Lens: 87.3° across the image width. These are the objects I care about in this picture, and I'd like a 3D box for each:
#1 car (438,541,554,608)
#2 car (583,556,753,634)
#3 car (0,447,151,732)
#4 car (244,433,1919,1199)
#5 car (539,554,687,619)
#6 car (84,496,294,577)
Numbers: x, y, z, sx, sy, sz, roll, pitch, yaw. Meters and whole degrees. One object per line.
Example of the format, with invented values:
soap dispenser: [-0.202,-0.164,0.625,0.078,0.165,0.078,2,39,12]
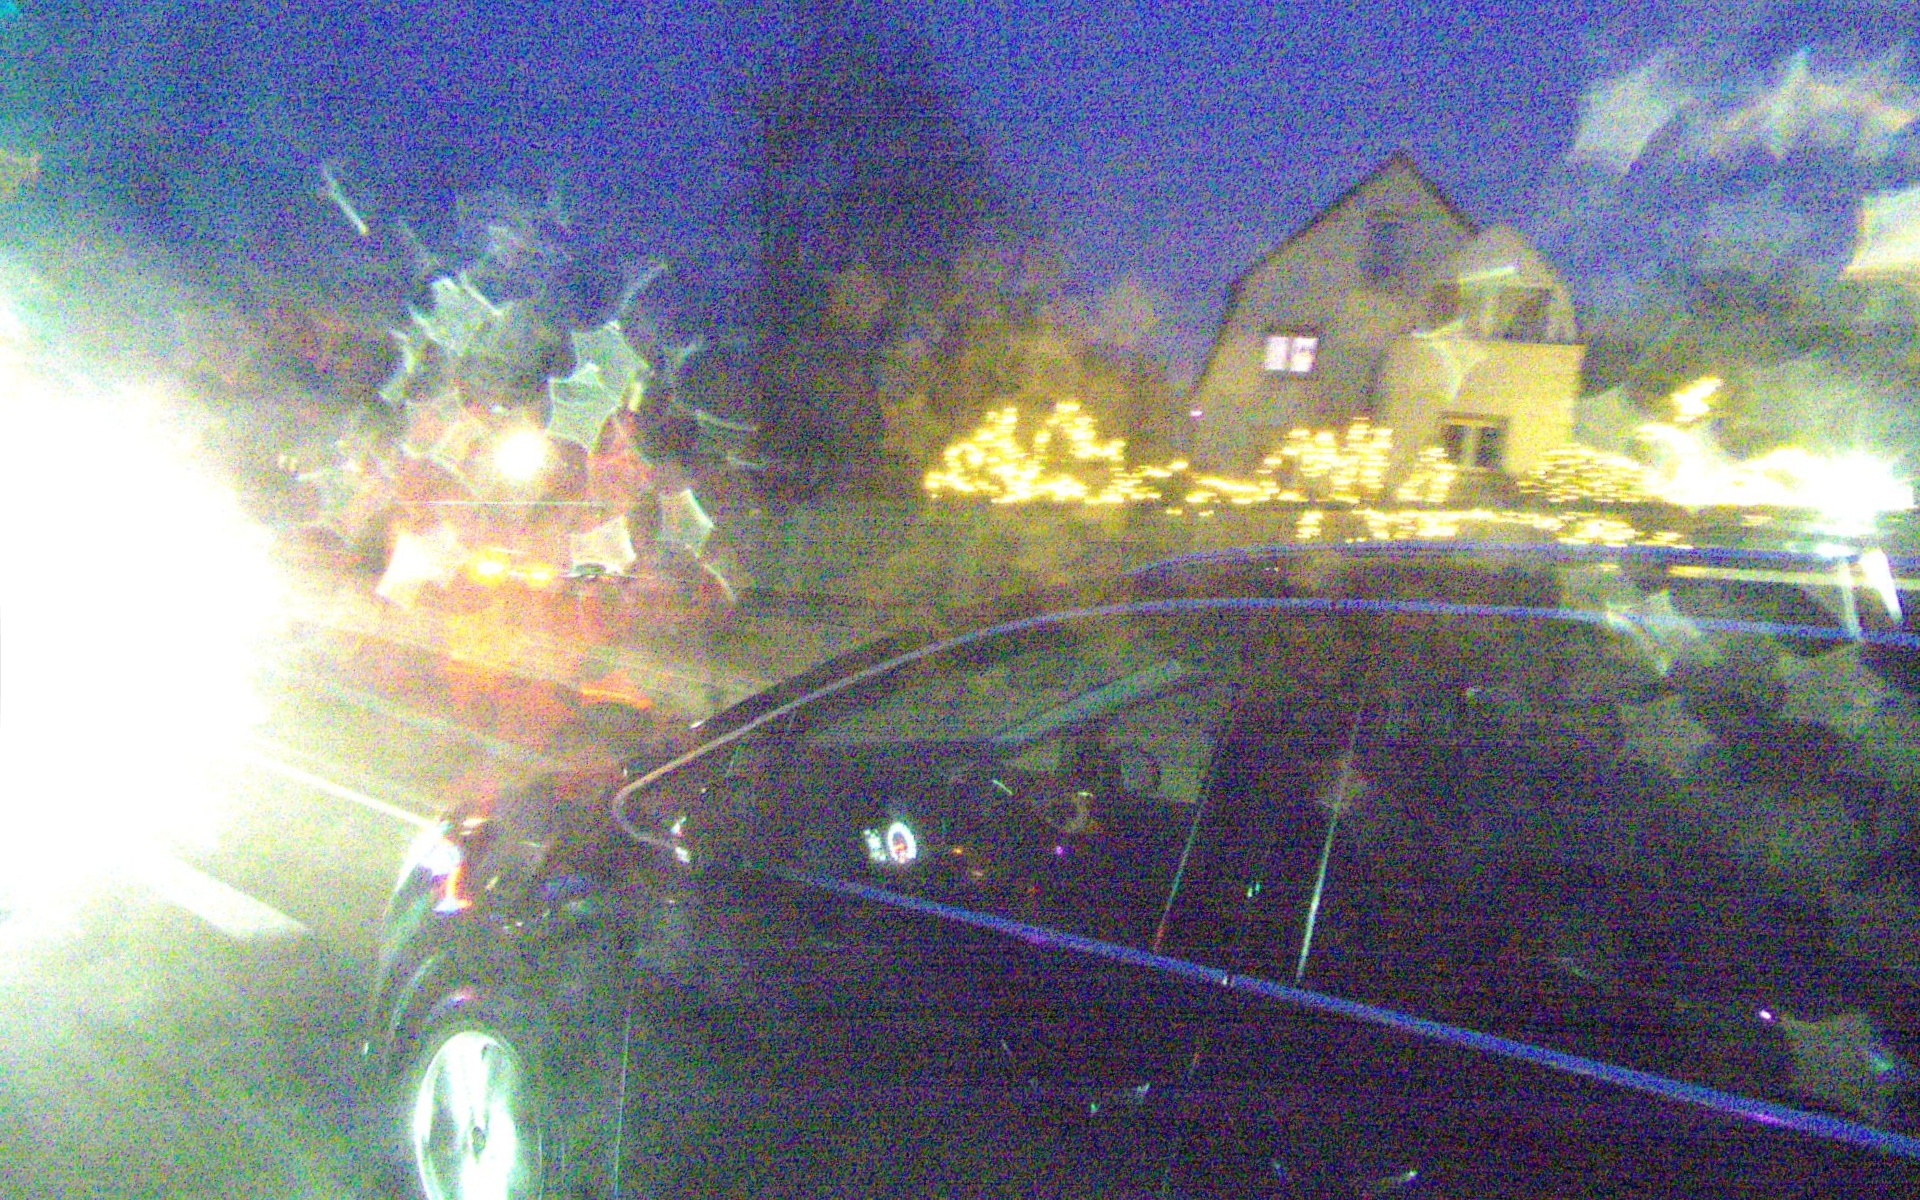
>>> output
car: [-13.132,-0.756,28.302,1.714,1.500,4.656,9,-3,-39]
car: [-7.794,-0.114,27.040,3.921,1.503,1.745,10,-3,-40]
car: [-8.284,-0.268,7.642,4.269,1.886,1.856,6,-2,32]
car: [0.923,0.779,1.926,4.859,1.755,1.839,6,-2,32]
car: [-10.878,-0.415,31.624,3.964,1.446,1.829,9,-3,-34]
car: [-21.314,-1.694,28.071,4.297,1.476,1.838,9,-3,-30]
